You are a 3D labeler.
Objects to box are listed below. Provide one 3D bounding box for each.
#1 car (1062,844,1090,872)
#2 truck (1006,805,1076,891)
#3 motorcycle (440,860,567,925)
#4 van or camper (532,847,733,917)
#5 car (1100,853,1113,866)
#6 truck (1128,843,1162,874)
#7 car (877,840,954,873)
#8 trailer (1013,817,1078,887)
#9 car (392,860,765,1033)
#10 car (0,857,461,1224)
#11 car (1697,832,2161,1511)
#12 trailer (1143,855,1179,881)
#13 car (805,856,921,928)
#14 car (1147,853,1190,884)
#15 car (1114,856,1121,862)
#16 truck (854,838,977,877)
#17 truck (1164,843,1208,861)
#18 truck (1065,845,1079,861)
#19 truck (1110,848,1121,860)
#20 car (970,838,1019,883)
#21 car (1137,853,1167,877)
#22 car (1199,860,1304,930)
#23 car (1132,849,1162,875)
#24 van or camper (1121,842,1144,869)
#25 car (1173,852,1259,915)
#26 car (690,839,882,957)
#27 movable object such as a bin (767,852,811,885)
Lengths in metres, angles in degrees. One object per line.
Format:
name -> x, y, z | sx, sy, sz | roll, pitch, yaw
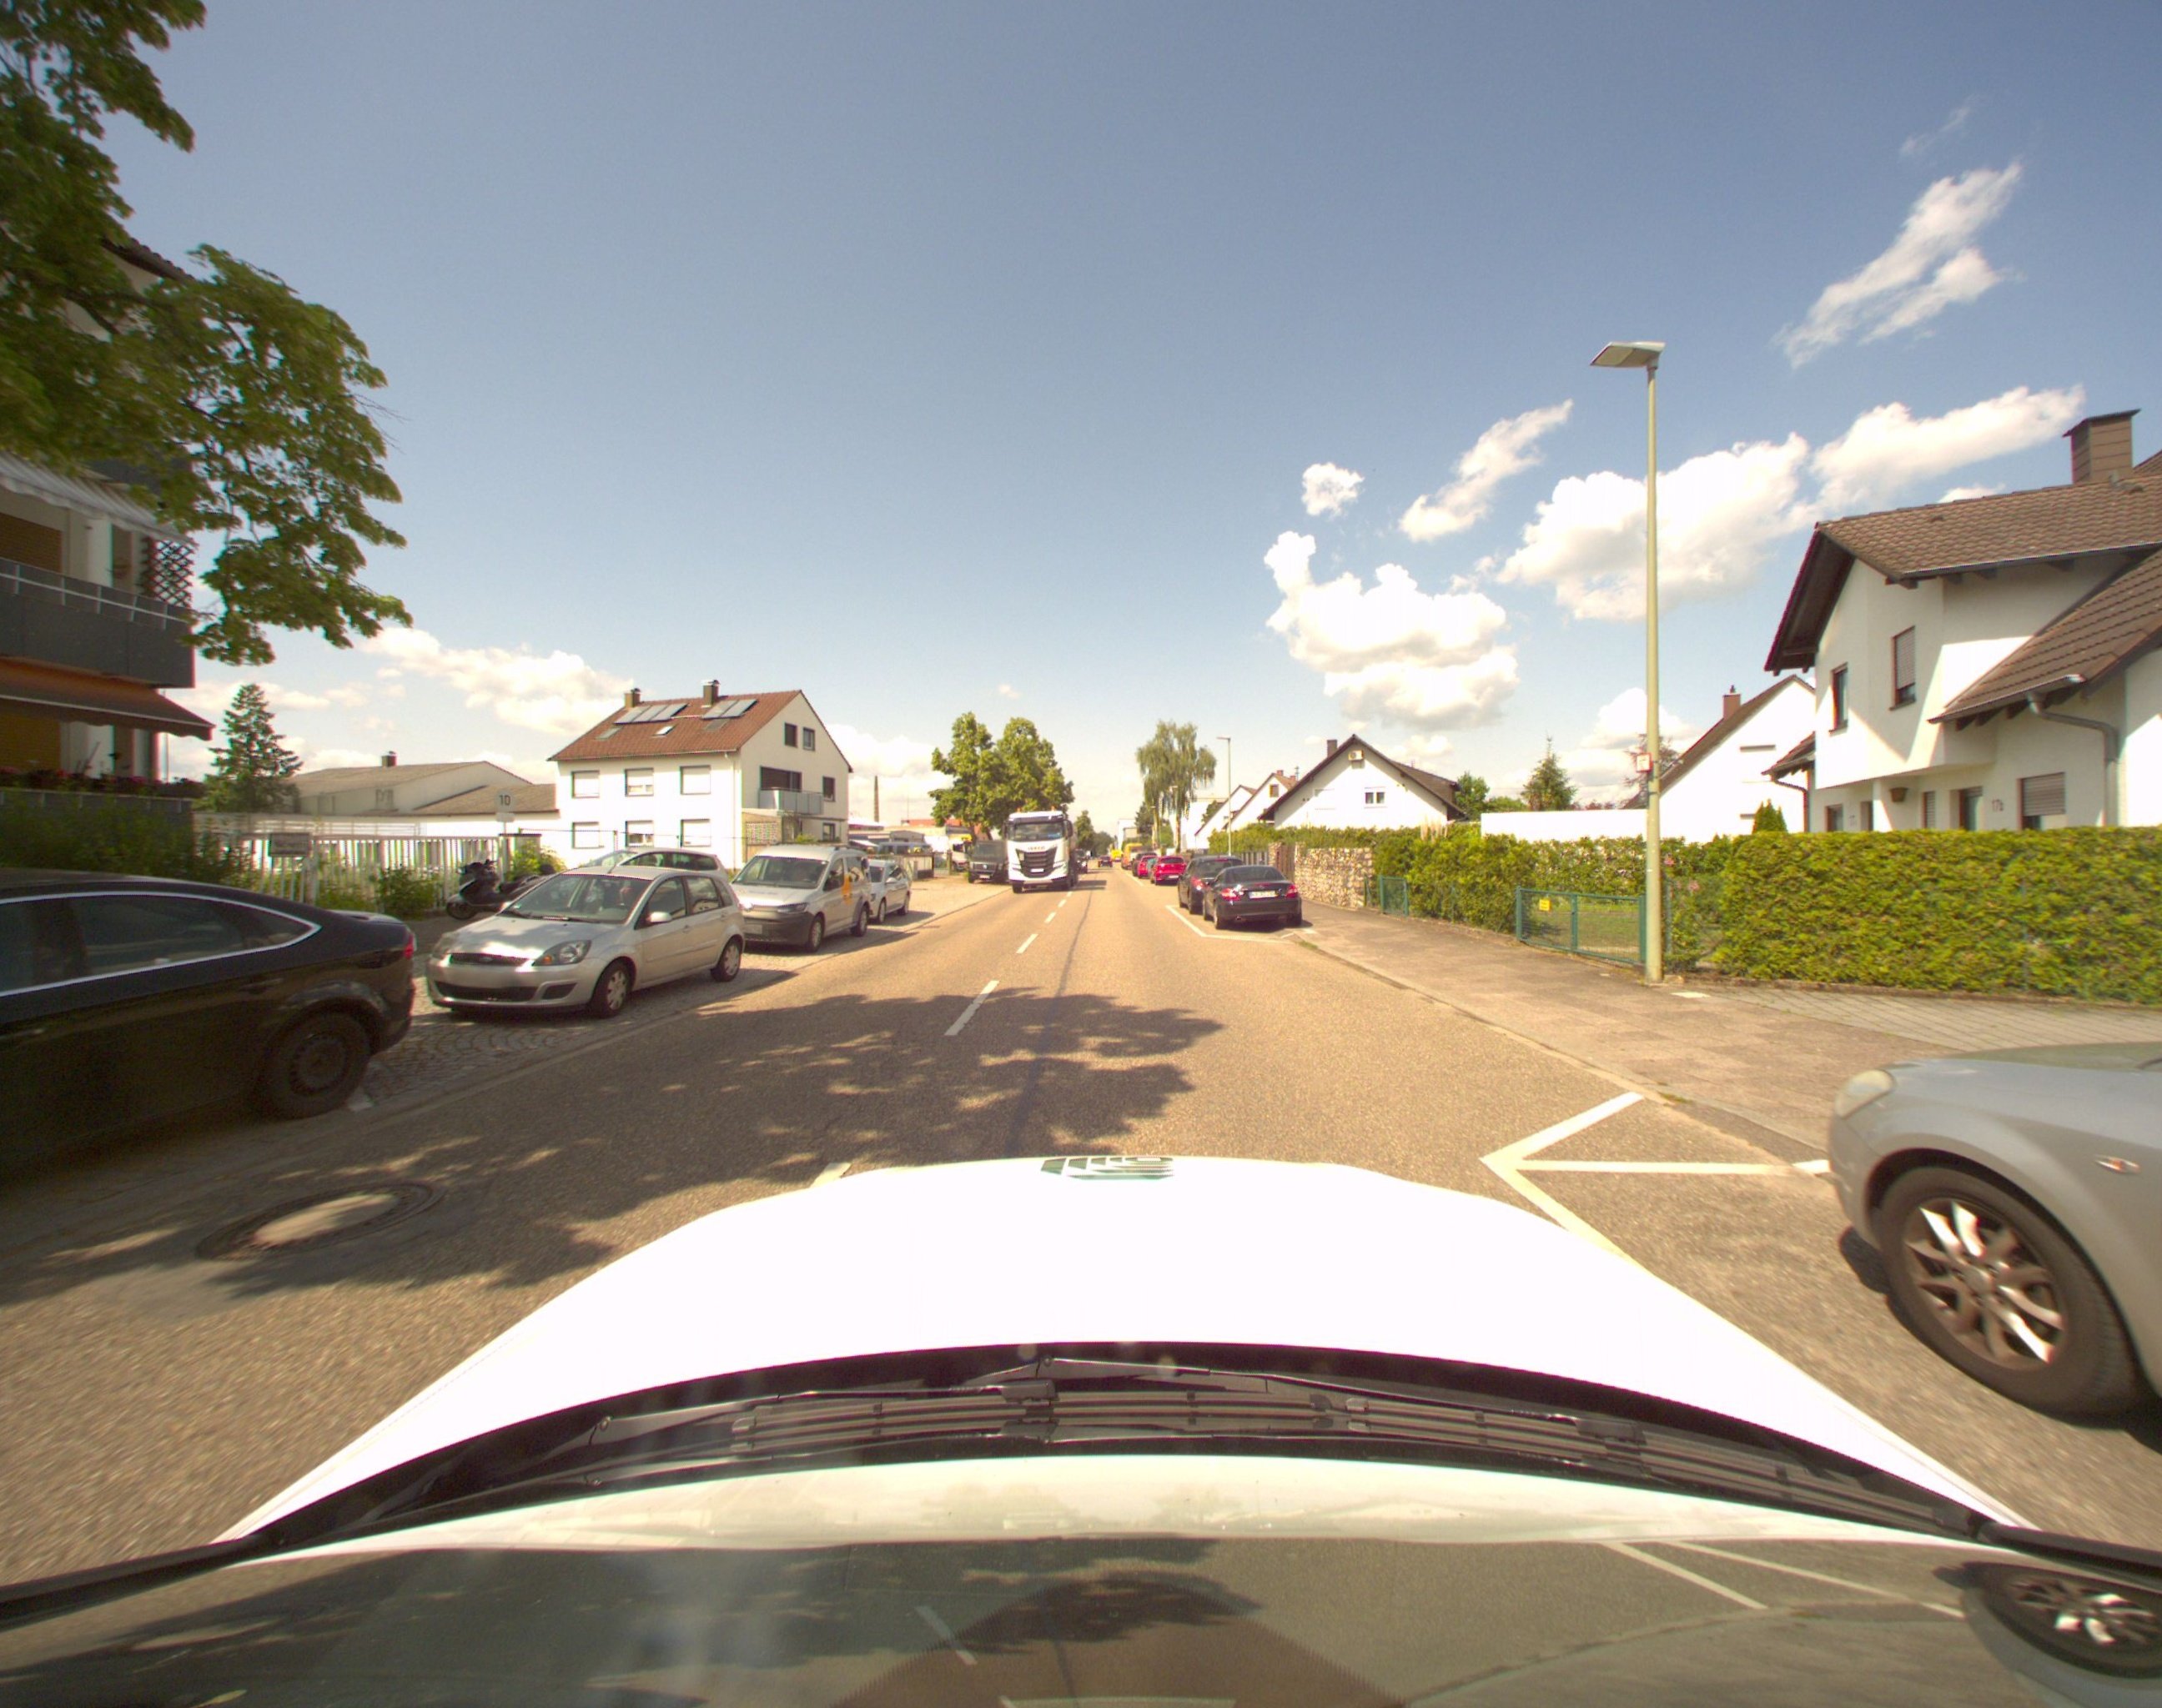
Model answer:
car -> -0.368, 0.289, 65.015 | 2.044, 2.034, 5.143 | -3, 0, 1
truck -> -1.686, -0.259, 36.738 | 2.763, 3.499, 5.881 | -1, 0, 0
motorcycle -> -11.823, 0.773, 16.705 | 2.085, 1.249, 0.678 | 1, 0, 1
van or camper -> -11.112, 0.633, 20.406 | 1.758, 1.543, 4.025 | 1, 0, 37
car -> 3.171, 0.677, 100.859 | 1.422, 1.519, 3.019 | -1, 0, 2
truck -> 5.172, 0.349, 66.726 | 2.512, 2.299, 5.898 | -1, 0, 2
car -> -11.707, 0.180, 57.743 | 4.965, 2.231, 2.007 | -1, -1, 14
trailer -> -1.655, -0.113, 40.885 | 2.826, 3.069, 8.886 | -1, 0, -1
car -> -5.319, 0.851, 9.339 | 1.616, 1.469, 3.928 | 3, 0, 2
car -> -5.547, 0.822, 3.689 | 1.803, 1.493, 4.599 | 2, 1, 2
car -> 3.320, 0.725, 1.150 | 1.739, 1.552, 4.293 | 0, 0, 1
trailer -> 4.424, 0.732, 45.701 | 1.602, 1.378, 4.432 | 0, 0, 0
car -> -5.489, 0.886, 21.109 | 1.743, 1.461, 4.707 | 2, 1, -1
car -> 4.357, 0.686, 41.082 | 1.686, 1.463, 4.755 | 0, 0, 0
car -> 8.445, 1.160, 188.369 | 1.645, 1.387, 4.424 | 0, 1, 2
truck -> -13.225, 0.259, 65.439 | 9.212, 2.856, 2.725 | -1, 0, 5
truck -> 15.418, -0.345, 119.766 | 6.069, 2.577, 2.546 | -1, 0, -25
truck -> -1.606, -0.116, 149.174 | 2.261, 2.855, 7.175 | 0, -1, 1
truck -> 8.369, 0.028, 200.010 | 2.466, 2.940, 7.188 | 0, 0, 0
car -> -4.550, 0.301, 43.454 | 2.162, 2.259, 3.999 | 1, 1, -1
car -> 4.434, 0.677, 51.187 | 1.678, 1.435, 4.148 | 0, 0, 2
car -> 3.717, 0.836, 18.362 | 1.703, 1.318, 3.966 | -1, 0, 3
car -> 4.494, 0.525, 55.950 | 1.823, 1.662, 4.556 | -1, 0, 2
van or camper -> 5.237, 0.116, 83.785 | 1.987, 2.664, 5.768 | -1, 0, 0
car -> 3.662, 0.746, 22.803 | 1.738, 1.551, 4.121 | 1, 0, 0
car -> -5.256, 0.692, 15.229 | 1.803, 1.806, 4.492 | 2, 0, 1
movable object such as a bin -> -14.627, 0.703, 40.843 | 1.299, 1.431, 1.611 | -1, 6, 18
